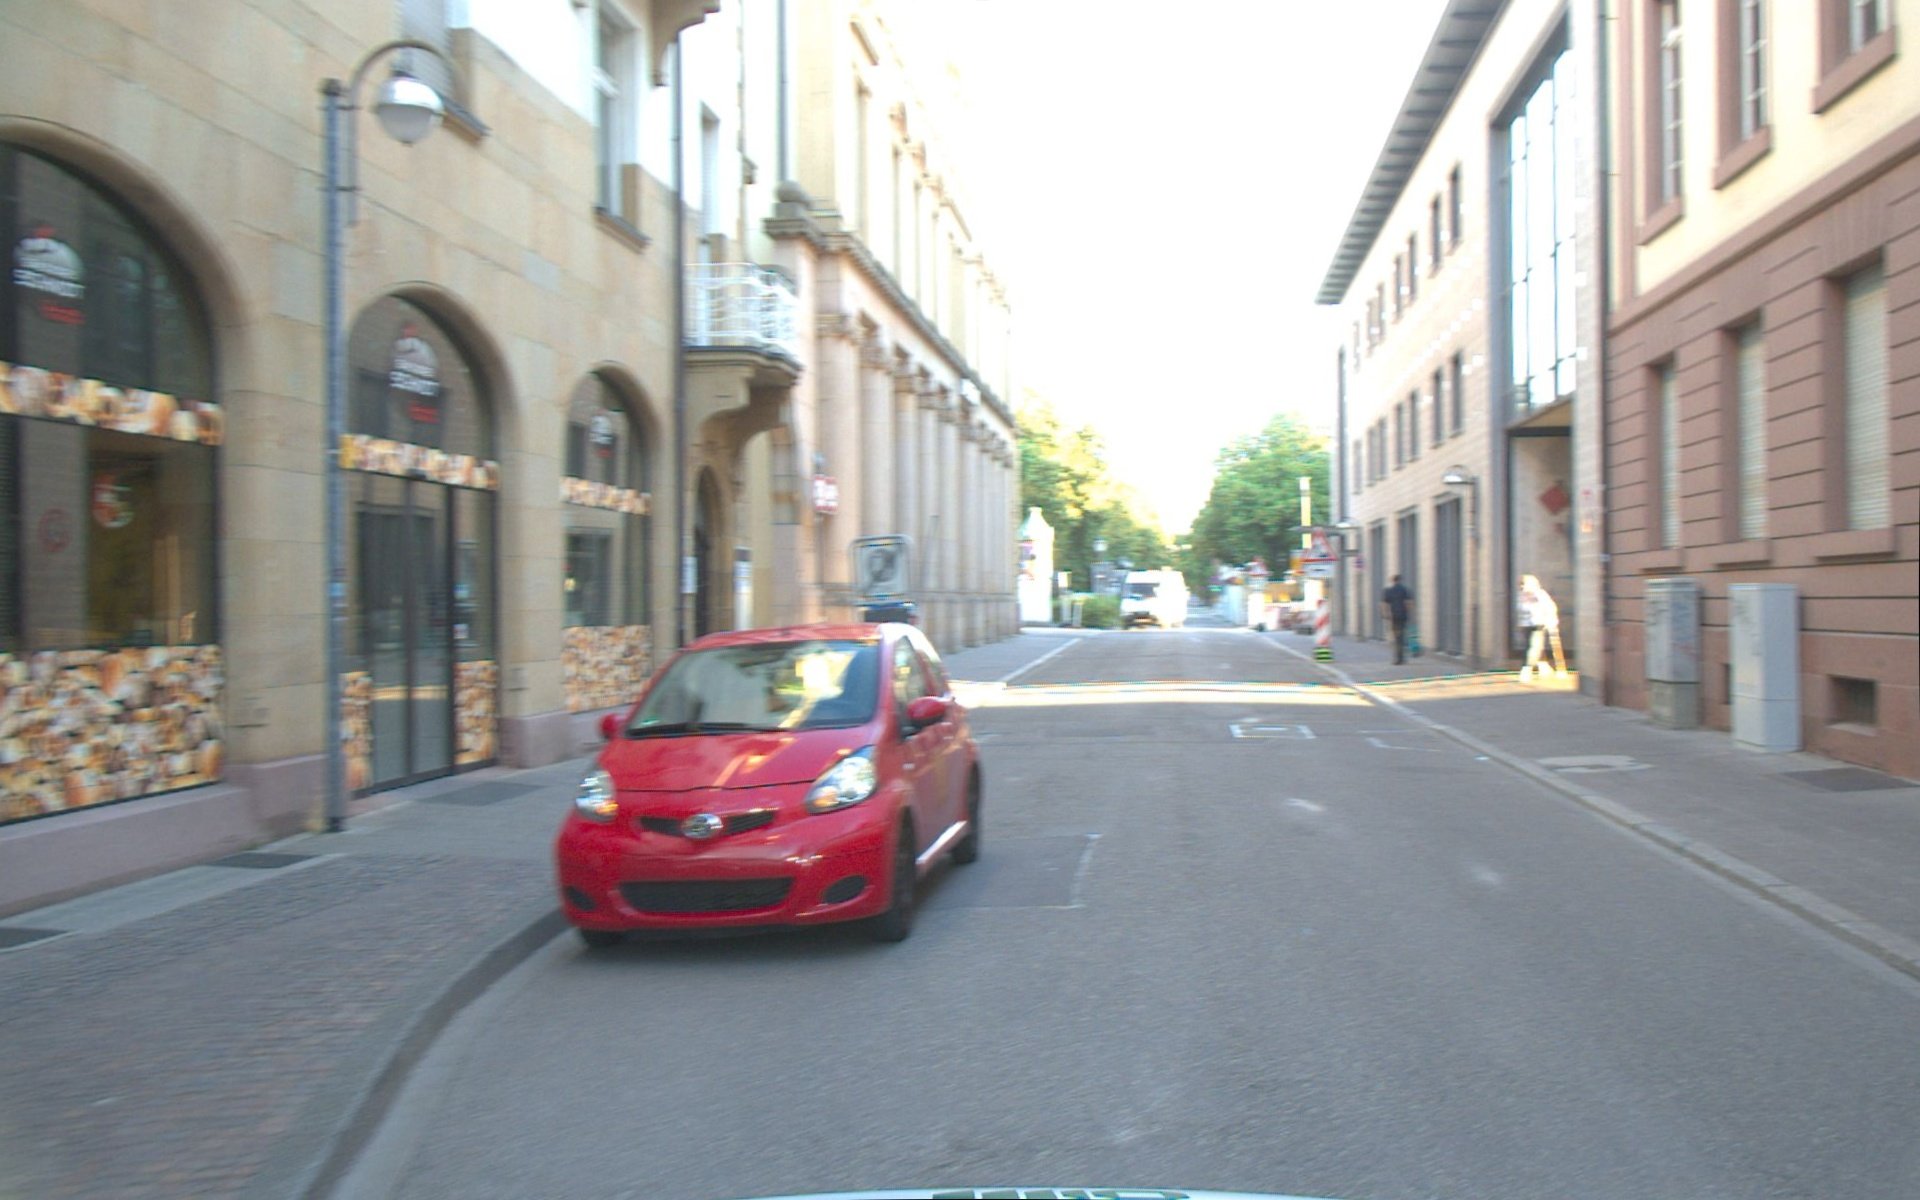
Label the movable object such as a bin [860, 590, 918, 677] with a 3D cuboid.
[{"bbox_3d":[-1.267,0.594,29.841,0.811,1.529,1.292,0,0,8],"label":"movable object such as a bin"}]

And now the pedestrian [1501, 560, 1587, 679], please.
[{"bbox_3d":[9.384,0.319,26.578,0.881,1.835,0.843,-3,-1,-20],"label":"pedestrian"}]

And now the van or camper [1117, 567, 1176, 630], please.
[{"bbox_3d":[8.250,-0.091,72.798,2.171,2.630,6.378,-1,0,10],"label":"van or camper"}]

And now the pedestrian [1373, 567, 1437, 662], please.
[{"bbox_3d":[9.037,0.299,33.632,0.979,1.834,0.882,-5,-1,7],"label":"pedestrian"}]

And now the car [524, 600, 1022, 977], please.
[{"bbox_3d":[-0.733,0.805,8.905,1.622,1.495,3.935,-4,0,8],"label":"car"}]
